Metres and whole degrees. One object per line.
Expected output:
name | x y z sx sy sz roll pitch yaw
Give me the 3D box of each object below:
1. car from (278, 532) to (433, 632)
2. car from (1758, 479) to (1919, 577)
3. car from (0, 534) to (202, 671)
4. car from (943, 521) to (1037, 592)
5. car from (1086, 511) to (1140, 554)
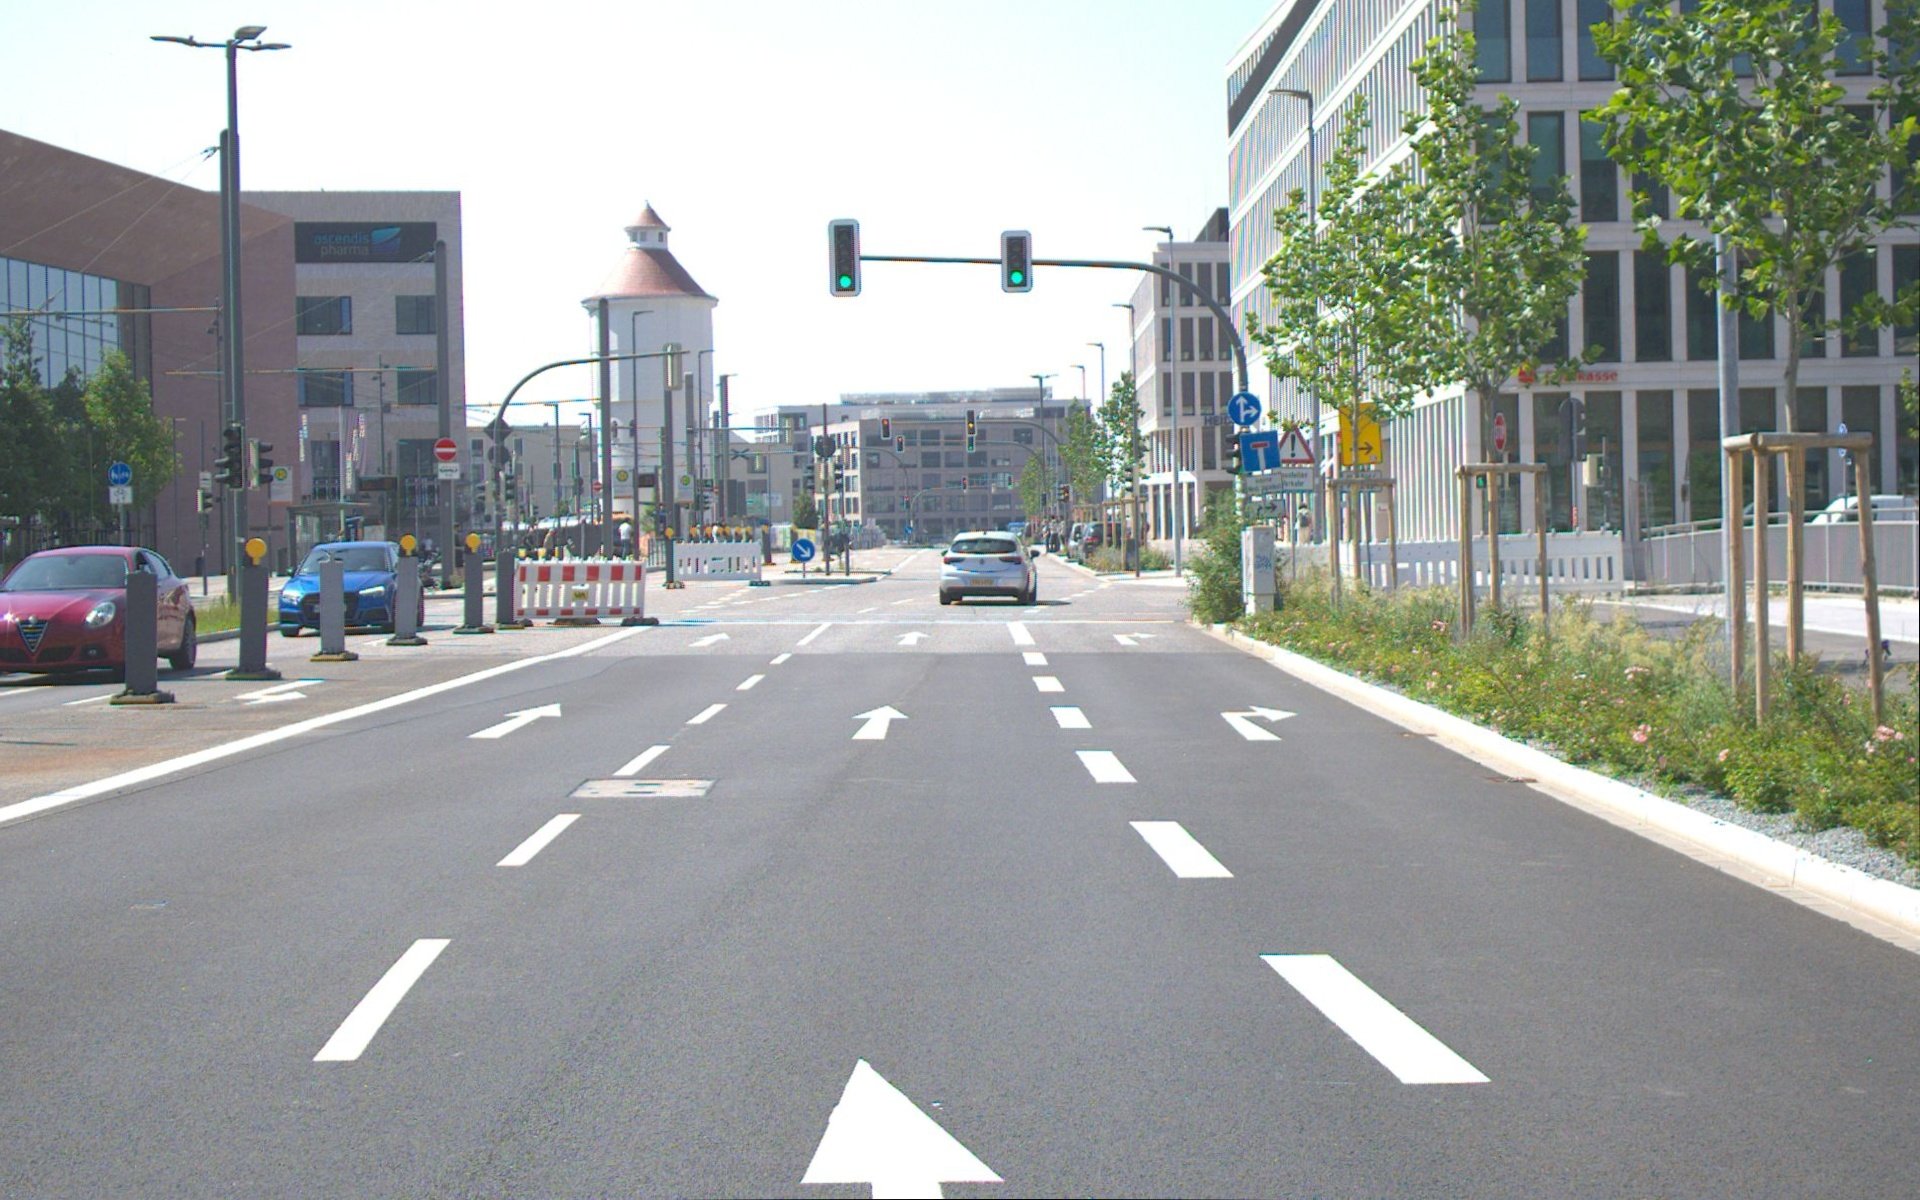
car | -9.449 -0.311 53.975 1.628 1.422 4.290 -2 1 0
car | 22.394 -1.707 82.677 5.837 2.262 2.147 1 2 1
car | -9.716 -0.002 38.420 1.580 1.411 3.999 -2 1 0
car | 0.629 -0.866 69.462 1.772 1.390 3.531 0 0 2
car | 5.399 -2.359 120.782 1.737 1.469 3.980 0 1 5
